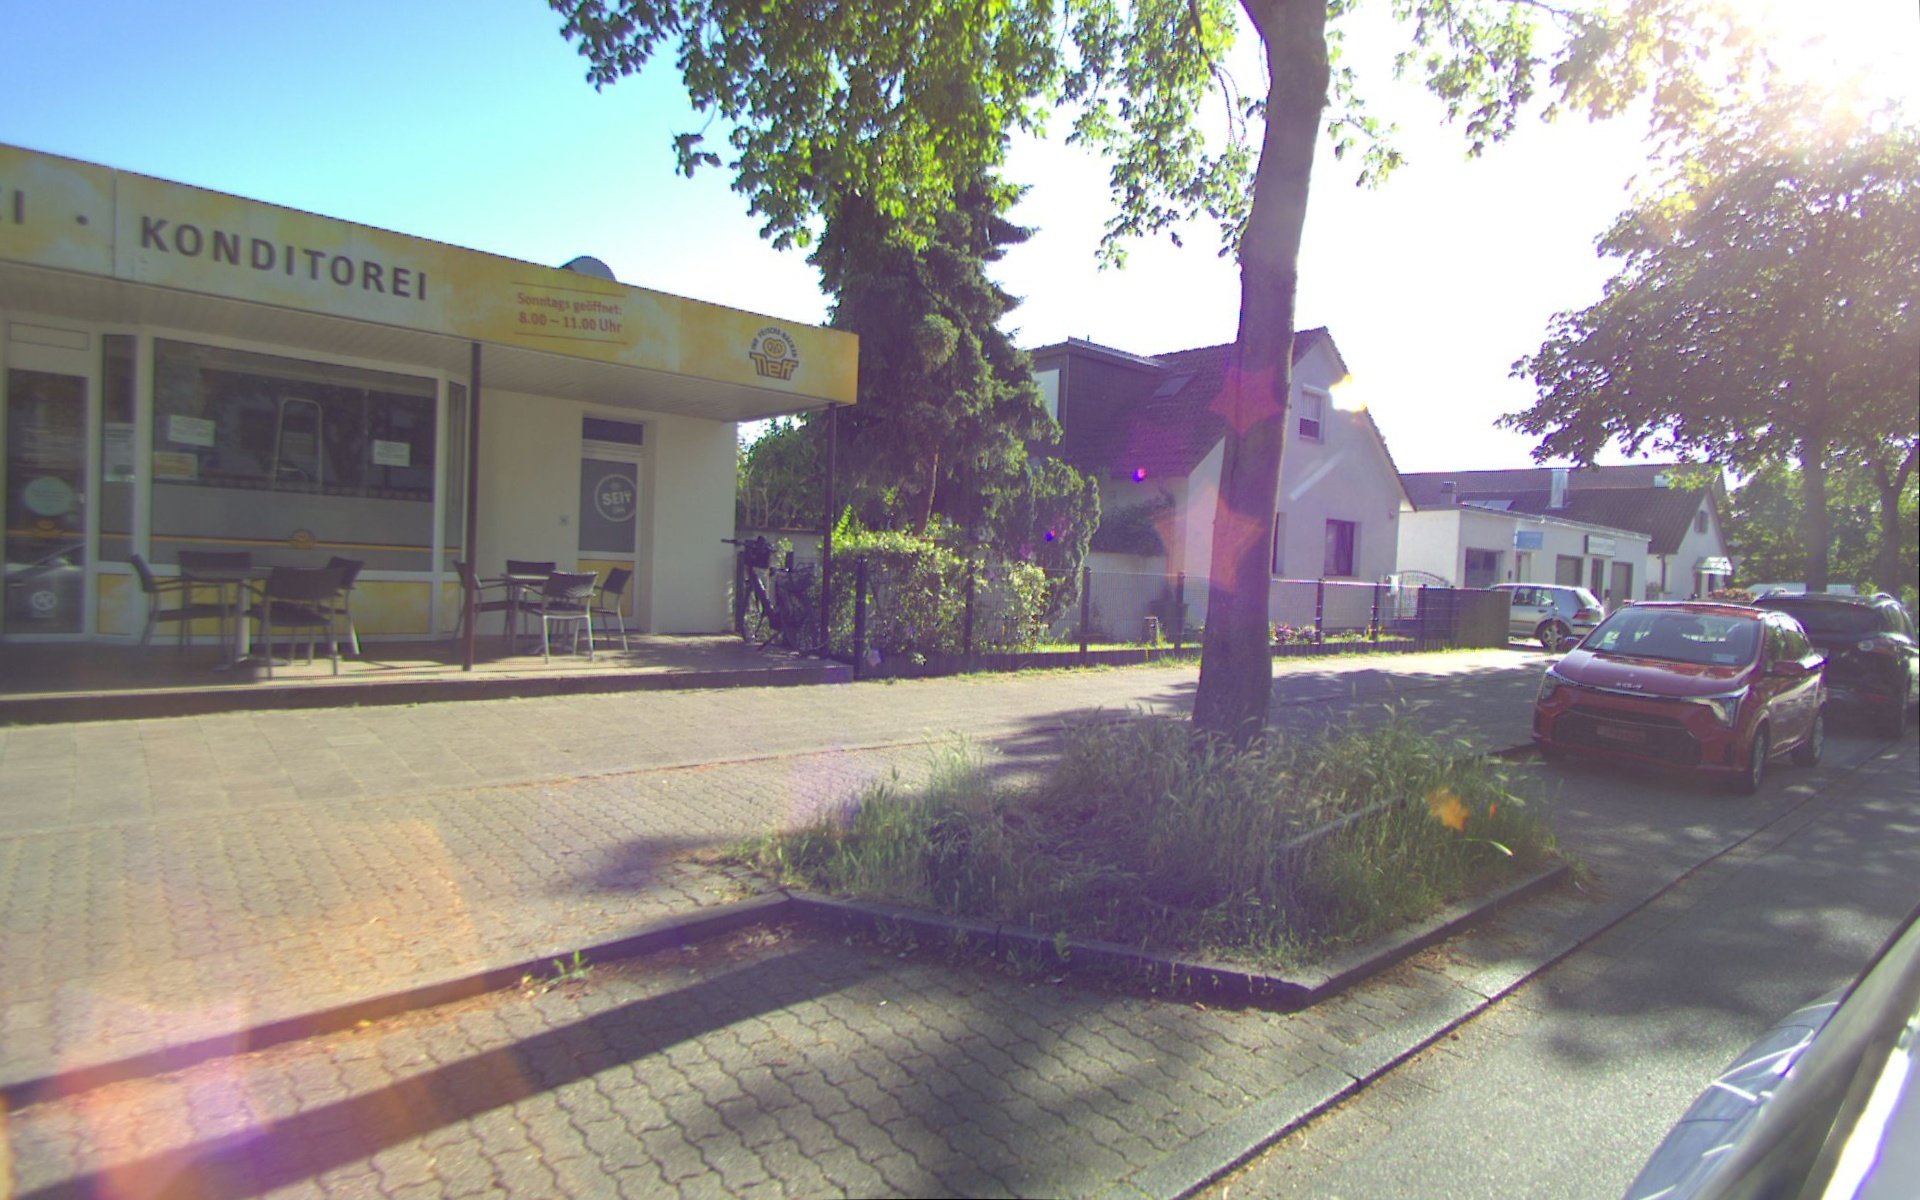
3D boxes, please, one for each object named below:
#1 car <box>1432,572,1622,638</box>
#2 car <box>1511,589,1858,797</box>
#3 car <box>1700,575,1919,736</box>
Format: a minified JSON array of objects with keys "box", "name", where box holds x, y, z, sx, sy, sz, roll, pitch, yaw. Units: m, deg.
[{"box":[13.424,0.122,24.092,1.667,1.457,3.614,0,0,-43],"name":"car"},{"box":[6.779,0.673,9.341,3.711,1.439,1.690,-1,4,-40],"name":"car"},{"box":[11.481,0.597,13.161,4.283,1.715,1.941,0,2,-39],"name":"car"}]
